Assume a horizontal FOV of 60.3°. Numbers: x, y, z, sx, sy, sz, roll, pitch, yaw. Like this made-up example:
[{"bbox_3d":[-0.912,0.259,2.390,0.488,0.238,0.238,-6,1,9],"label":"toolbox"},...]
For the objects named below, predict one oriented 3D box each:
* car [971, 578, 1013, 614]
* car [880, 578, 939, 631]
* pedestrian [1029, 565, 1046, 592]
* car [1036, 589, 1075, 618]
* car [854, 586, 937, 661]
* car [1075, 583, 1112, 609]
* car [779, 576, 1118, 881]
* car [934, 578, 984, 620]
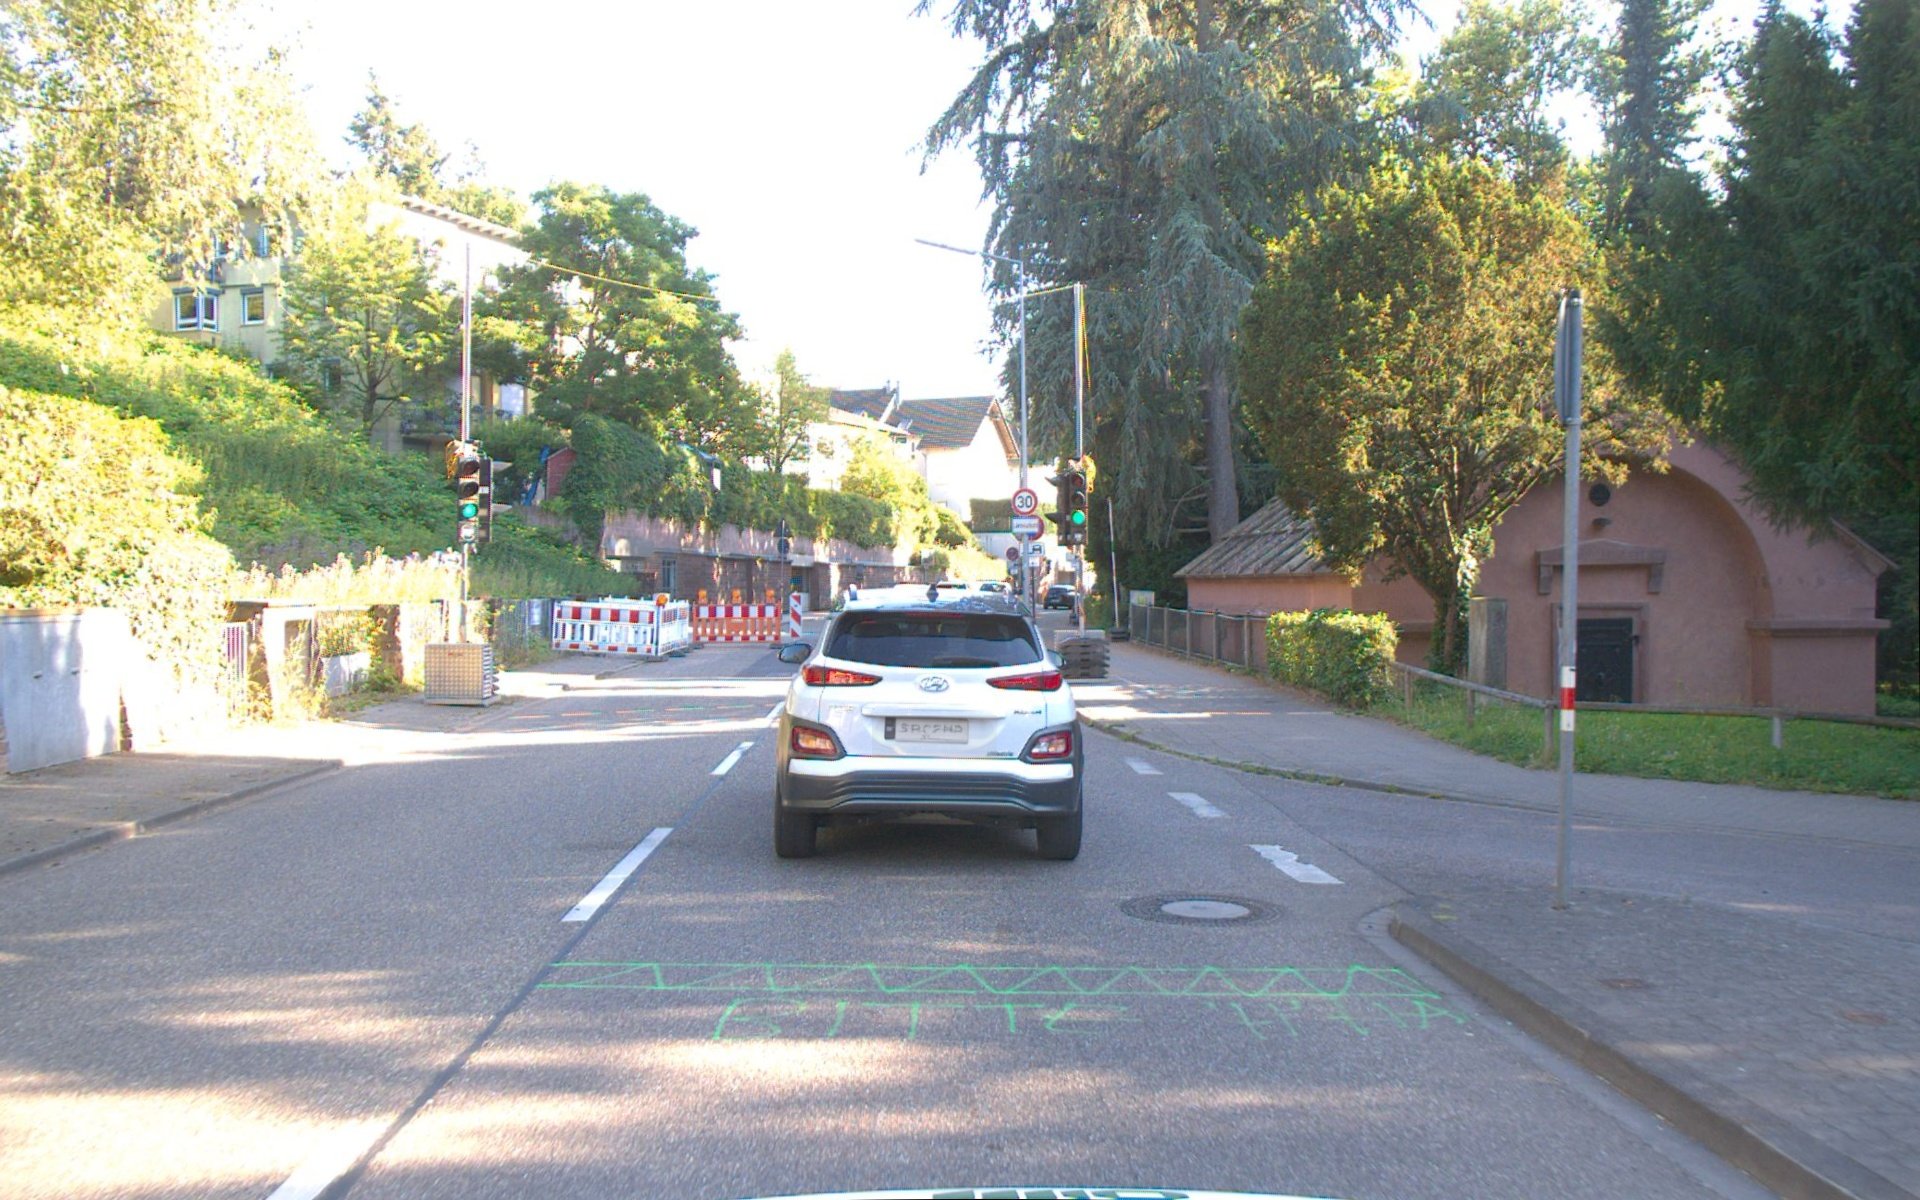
[{"bbox_3d":[1.672,-0.213,84.393,1.793,1.771,4.003,0,0,6],"label":"car"},{"bbox_3d":[-1.599,0.104,52.190,1.769,1.564,3.999,2,1,-2],"label":"car"},{"bbox_3d":[5.533,-1.532,117.769,1.056,1.945,0.841,1,0,14],"label":"pedestrian"},{"bbox_3d":[5.831,0.210,100.612,1.792,1.691,4.004,2,1,11],"label":"car"},{"bbox_3d":[-1.418,0.458,36.096,1.674,1.459,4.363,2,1,-3],"label":"car"},{"bbox_3d":[9.215,-0.297,113.917,1.793,1.691,4.003,2,1,16],"label":"car"},{"bbox_3d":[-0.269,0.676,10.903,1.785,1.601,3.995,2,1,-7],"label":"car"},{"bbox_3d":[-0.020,-0.059,69.982,1.793,1.691,4.002,2,1,4],"label":"car"}]
